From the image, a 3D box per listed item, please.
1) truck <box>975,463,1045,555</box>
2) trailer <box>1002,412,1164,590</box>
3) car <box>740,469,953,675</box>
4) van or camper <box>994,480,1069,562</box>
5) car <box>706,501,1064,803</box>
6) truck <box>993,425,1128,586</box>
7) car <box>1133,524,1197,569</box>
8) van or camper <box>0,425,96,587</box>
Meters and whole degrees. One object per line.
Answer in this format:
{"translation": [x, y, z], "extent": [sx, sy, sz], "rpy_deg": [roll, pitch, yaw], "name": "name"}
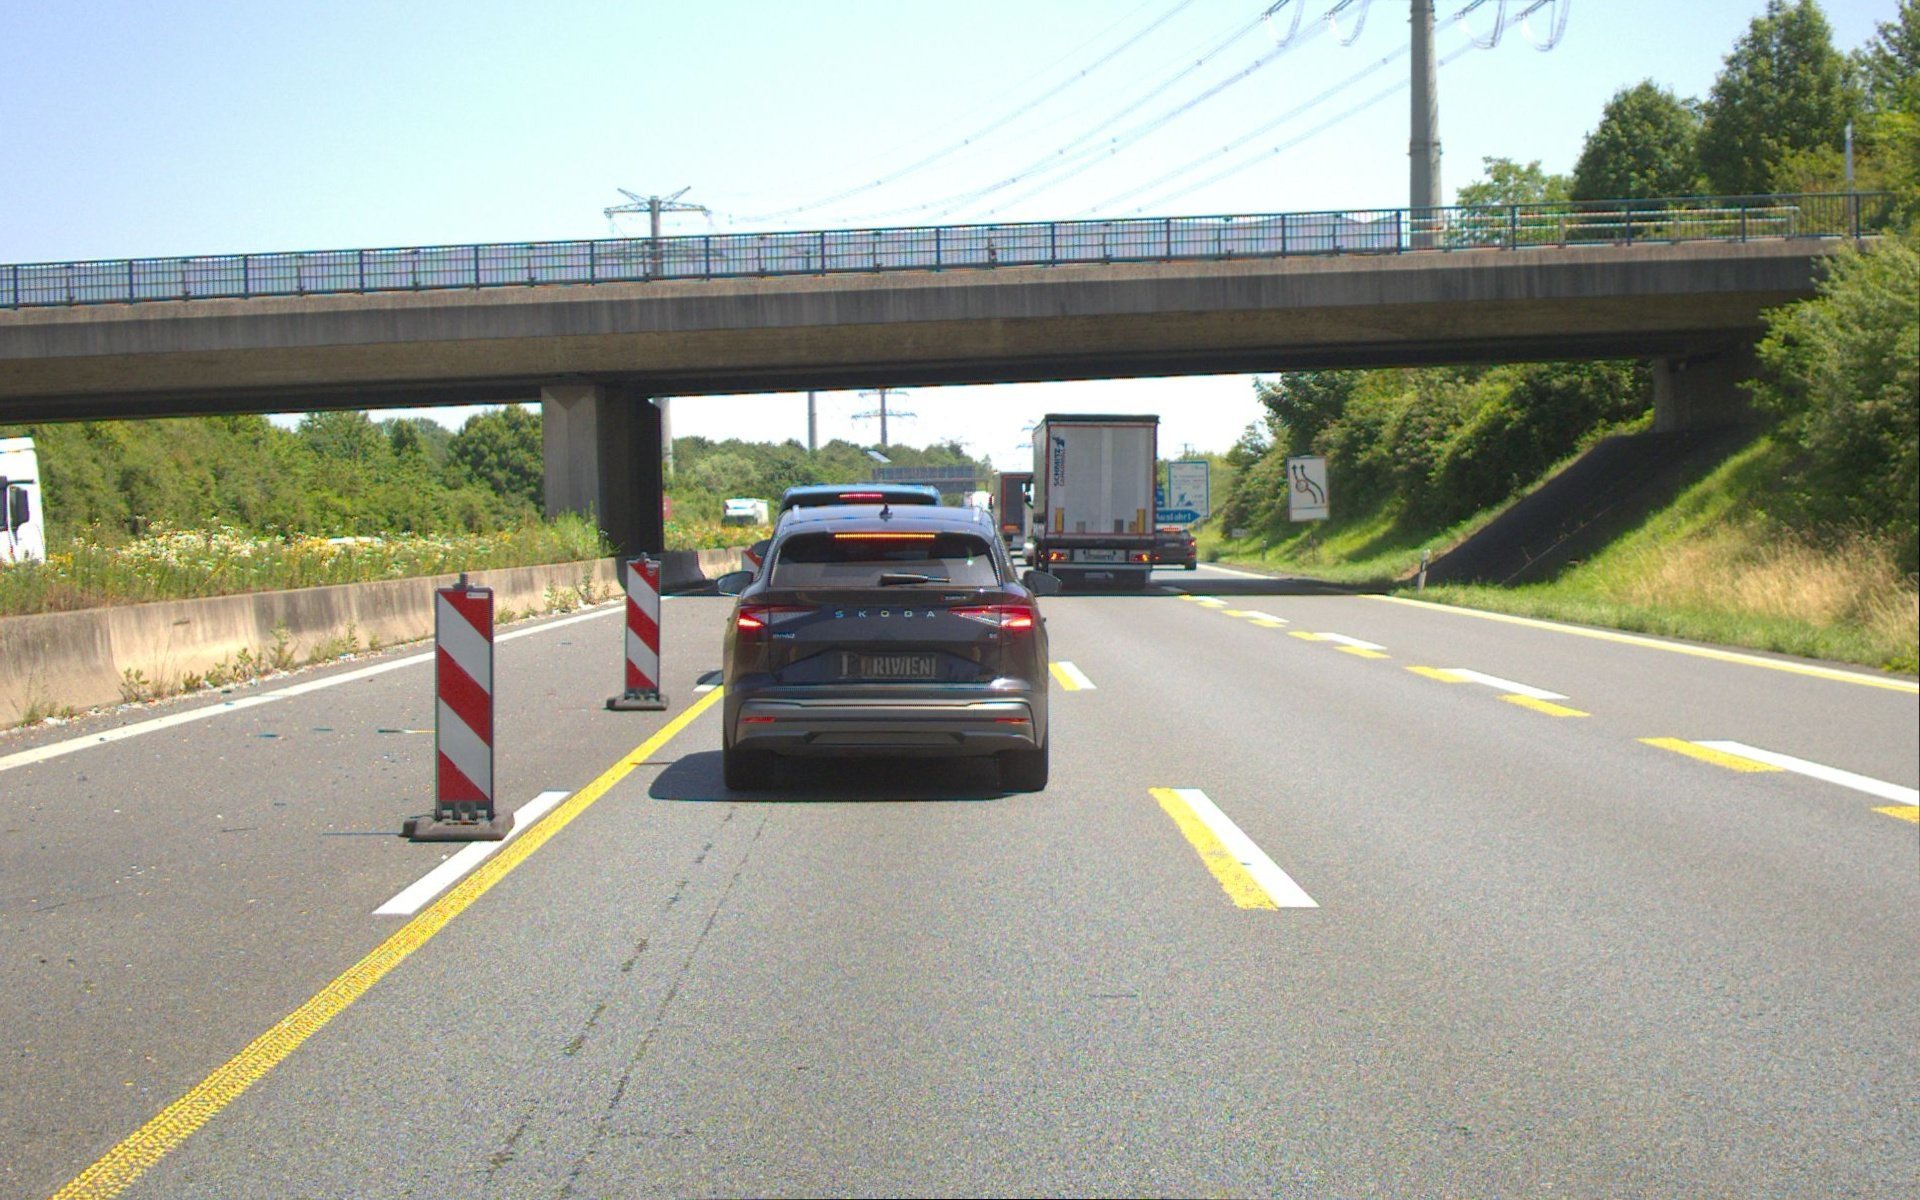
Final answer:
{"translation": [2.268, -4.232, 161.179], "extent": [3.078, 4.132, 13.055], "rpy_deg": [1, 1, 0], "name": "truck"}
{"translation": [2.876, -2.398, 84.024], "extent": [3.065, 4.028, 11.489], "rpy_deg": [0, 1, -2], "name": "trailer"}
{"translation": [-1.126, -0.304, 34.097], "extent": [1.895, 1.835, 4.443], "rpy_deg": [2, 1, -2], "name": "car"}
{"translation": [2.603, -2.914, 126.326], "extent": [2.586, 2.958, 6.085], "rpy_deg": [0, 2, 0], "name": "van or camper"}
{"translation": [-0.473, 0.211, 20.491], "extent": [1.895, 1.586, 4.443], "rpy_deg": [0, 2, -2], "name": "car"}
{"translation": [2.583, -2.494, 90.789], "extent": [3.024, 4.073, 7.796], "rpy_deg": [0, 1, -2], "name": "truck"}
{"translation": [6.856, -1.811, 115.380], "extent": [1.779, 1.484, 4.464], "rpy_deg": [1, 1, -1], "name": "car"}
{"translation": [-19.716, -1.920, 70.349], "extent": [2.570, 3.176, 6.233], "rpy_deg": [0, 1, -1], "name": "van or camper"}
